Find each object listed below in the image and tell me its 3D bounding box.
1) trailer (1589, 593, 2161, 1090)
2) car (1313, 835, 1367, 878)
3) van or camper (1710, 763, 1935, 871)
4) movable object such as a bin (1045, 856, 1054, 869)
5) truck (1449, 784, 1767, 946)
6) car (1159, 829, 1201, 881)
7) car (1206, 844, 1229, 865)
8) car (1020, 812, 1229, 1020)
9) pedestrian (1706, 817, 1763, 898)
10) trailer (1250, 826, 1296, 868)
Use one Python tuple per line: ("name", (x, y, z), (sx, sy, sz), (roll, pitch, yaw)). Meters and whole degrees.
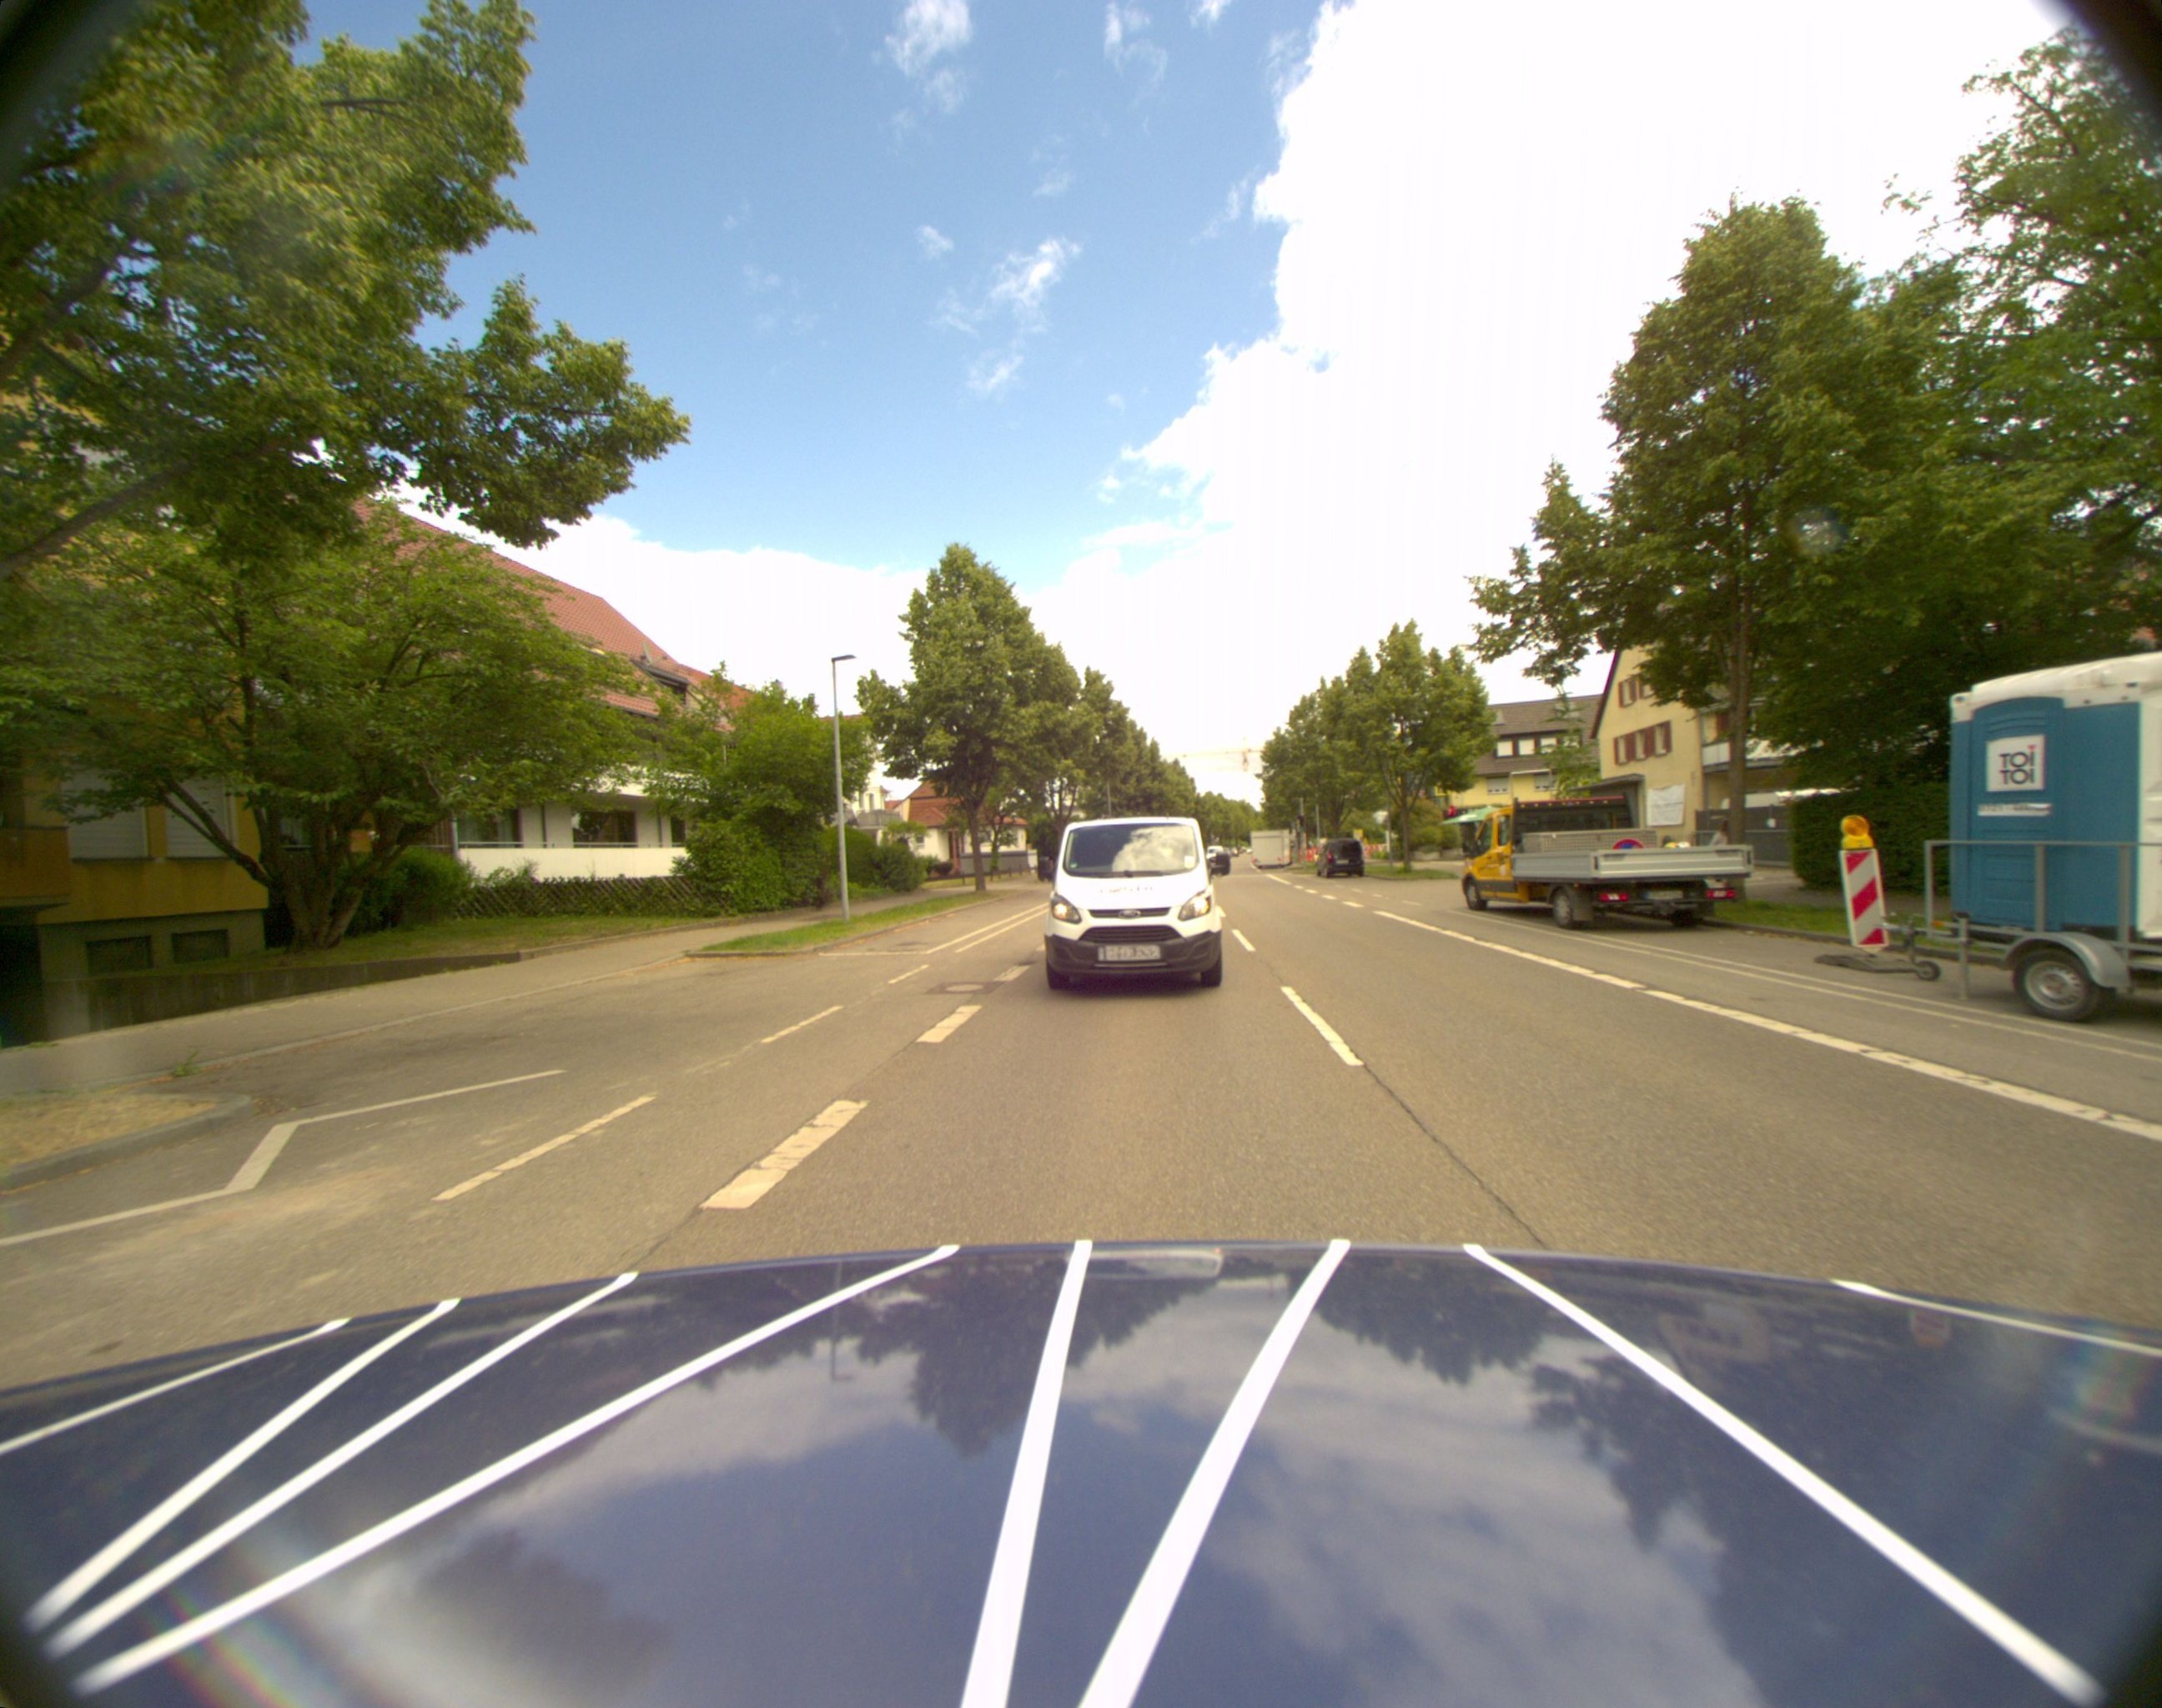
("trailer", (8.105, -0.141, 7.524), (2.376, 2.946, 7.014), (-2, 0, 10))
("car", (12.367, 0.092, 36.462), (1.710, 1.863, 4.401), (-2, 1, 10))
("van or camper", (22.934, -1.051, 23.998), (2.599, 2.867, 5.943), (-2, 1, 17))
("movable object such as a bin", (-2.639, 0.717, 62.953), (0.540, 1.052, 0.519), (-2, 1, 23))
("truck", (9.134, 0.145, 14.183), (2.299, 2.274, 6.467), (-2, 0, 10))
("car", (5.432, 0.033, 41.336), (1.997, 2.584, 4.003), (-3, 0, 10))
("car", (13.865, 0.009, 77.057), (1.996, 2.002, 4.004), (-2, 0, 14))
("car", (0.683, 0.608, 10.230), (1.998, 2.002, 5.320), (-2, 0, 6))
("pedestrian", (14.496, 0.068, 16.875), (0.642, 1.732, 0.722), (-3, 1, 10))
("trailer", (14.478, -0.533, 56.914), (2.637, 2.862, 6.879), (-2, 0, 19))
